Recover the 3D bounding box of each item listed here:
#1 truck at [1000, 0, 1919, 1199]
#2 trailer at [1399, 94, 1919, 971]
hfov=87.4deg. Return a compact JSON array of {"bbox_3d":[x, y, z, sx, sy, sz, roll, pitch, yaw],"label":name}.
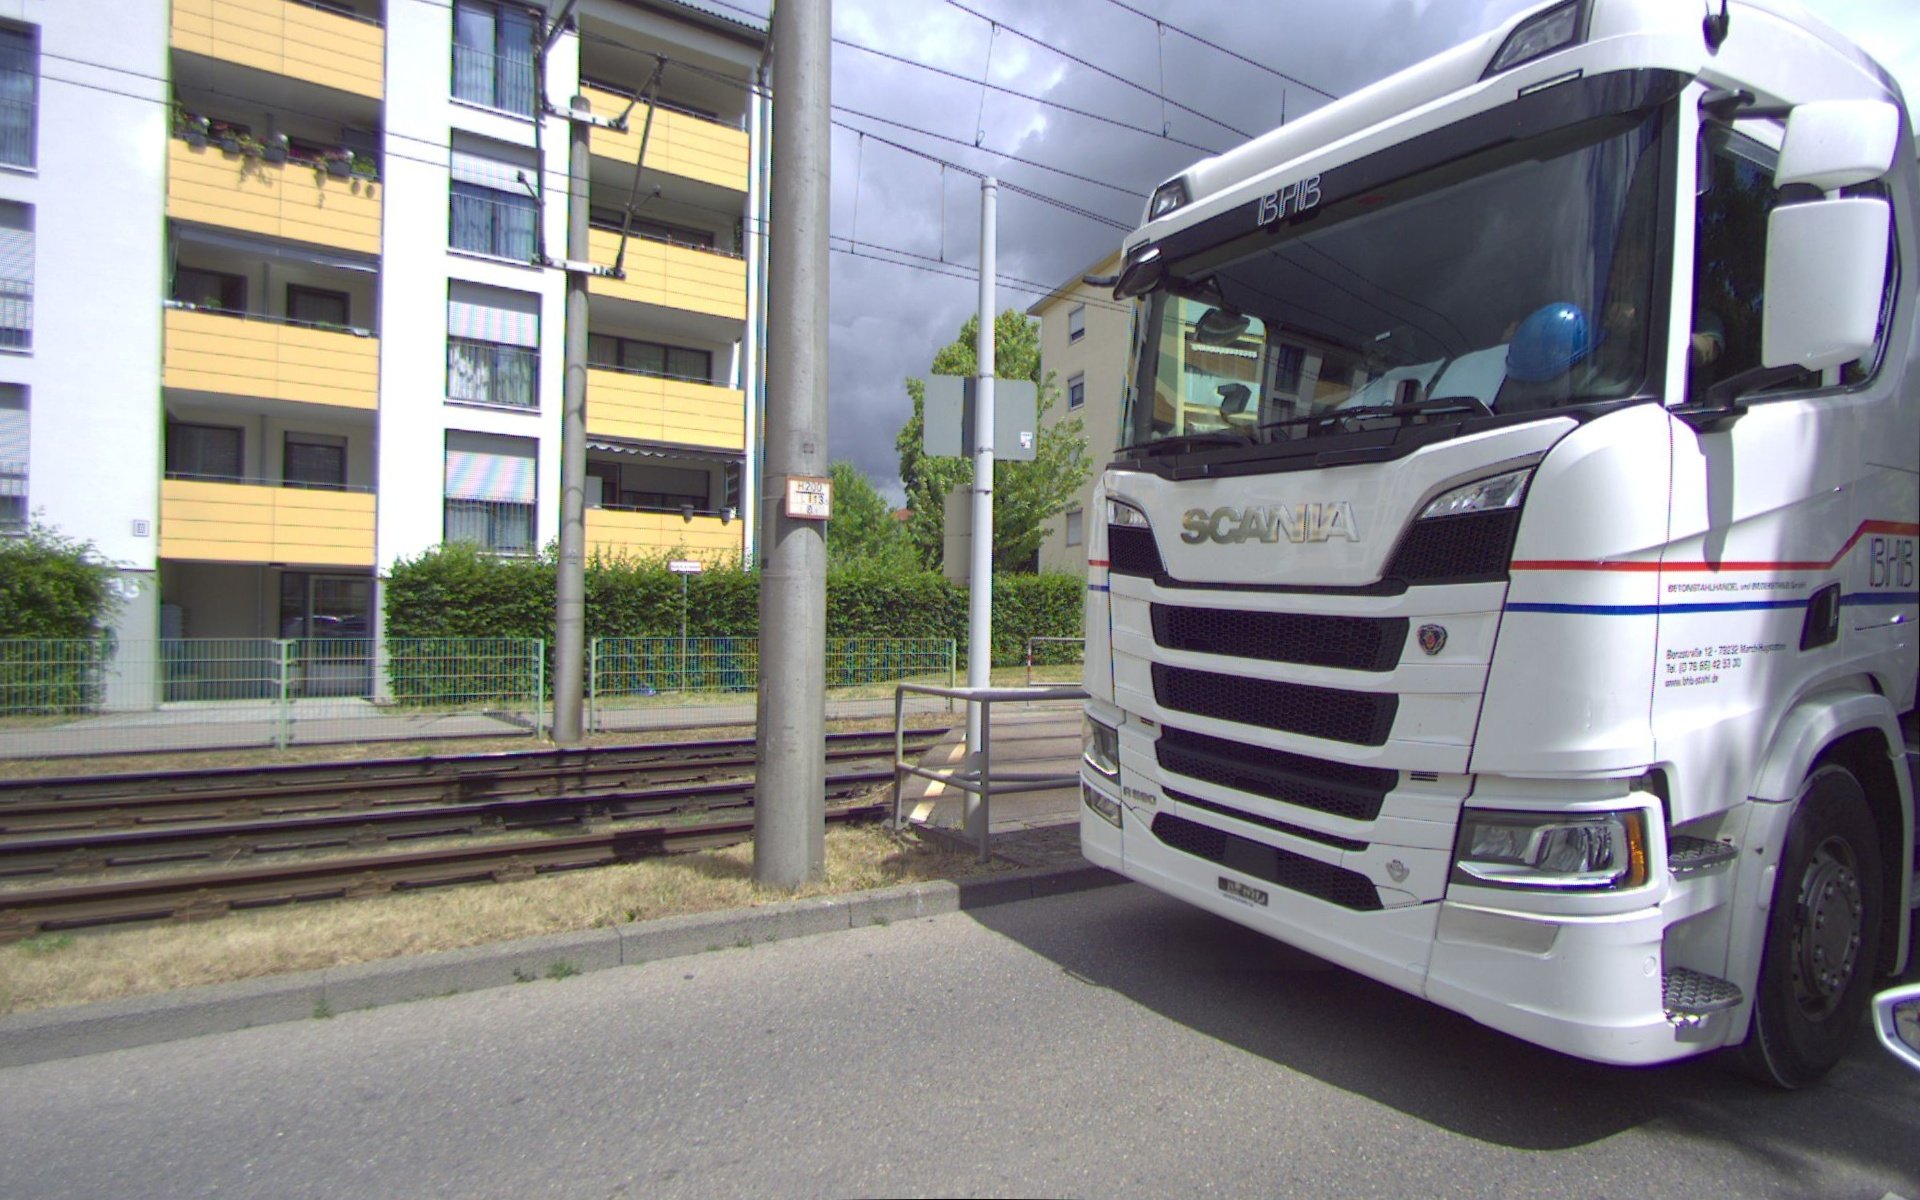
[{"bbox_3d":[3.488,-0.302,5.092,6.074,3.628,2.684,1,1,-31],"label":"truck"},{"bbox_3d":[9.224,-0.235,8.578,13.517,3.628,2.684,1,1,-31],"label":"trailer"}]
